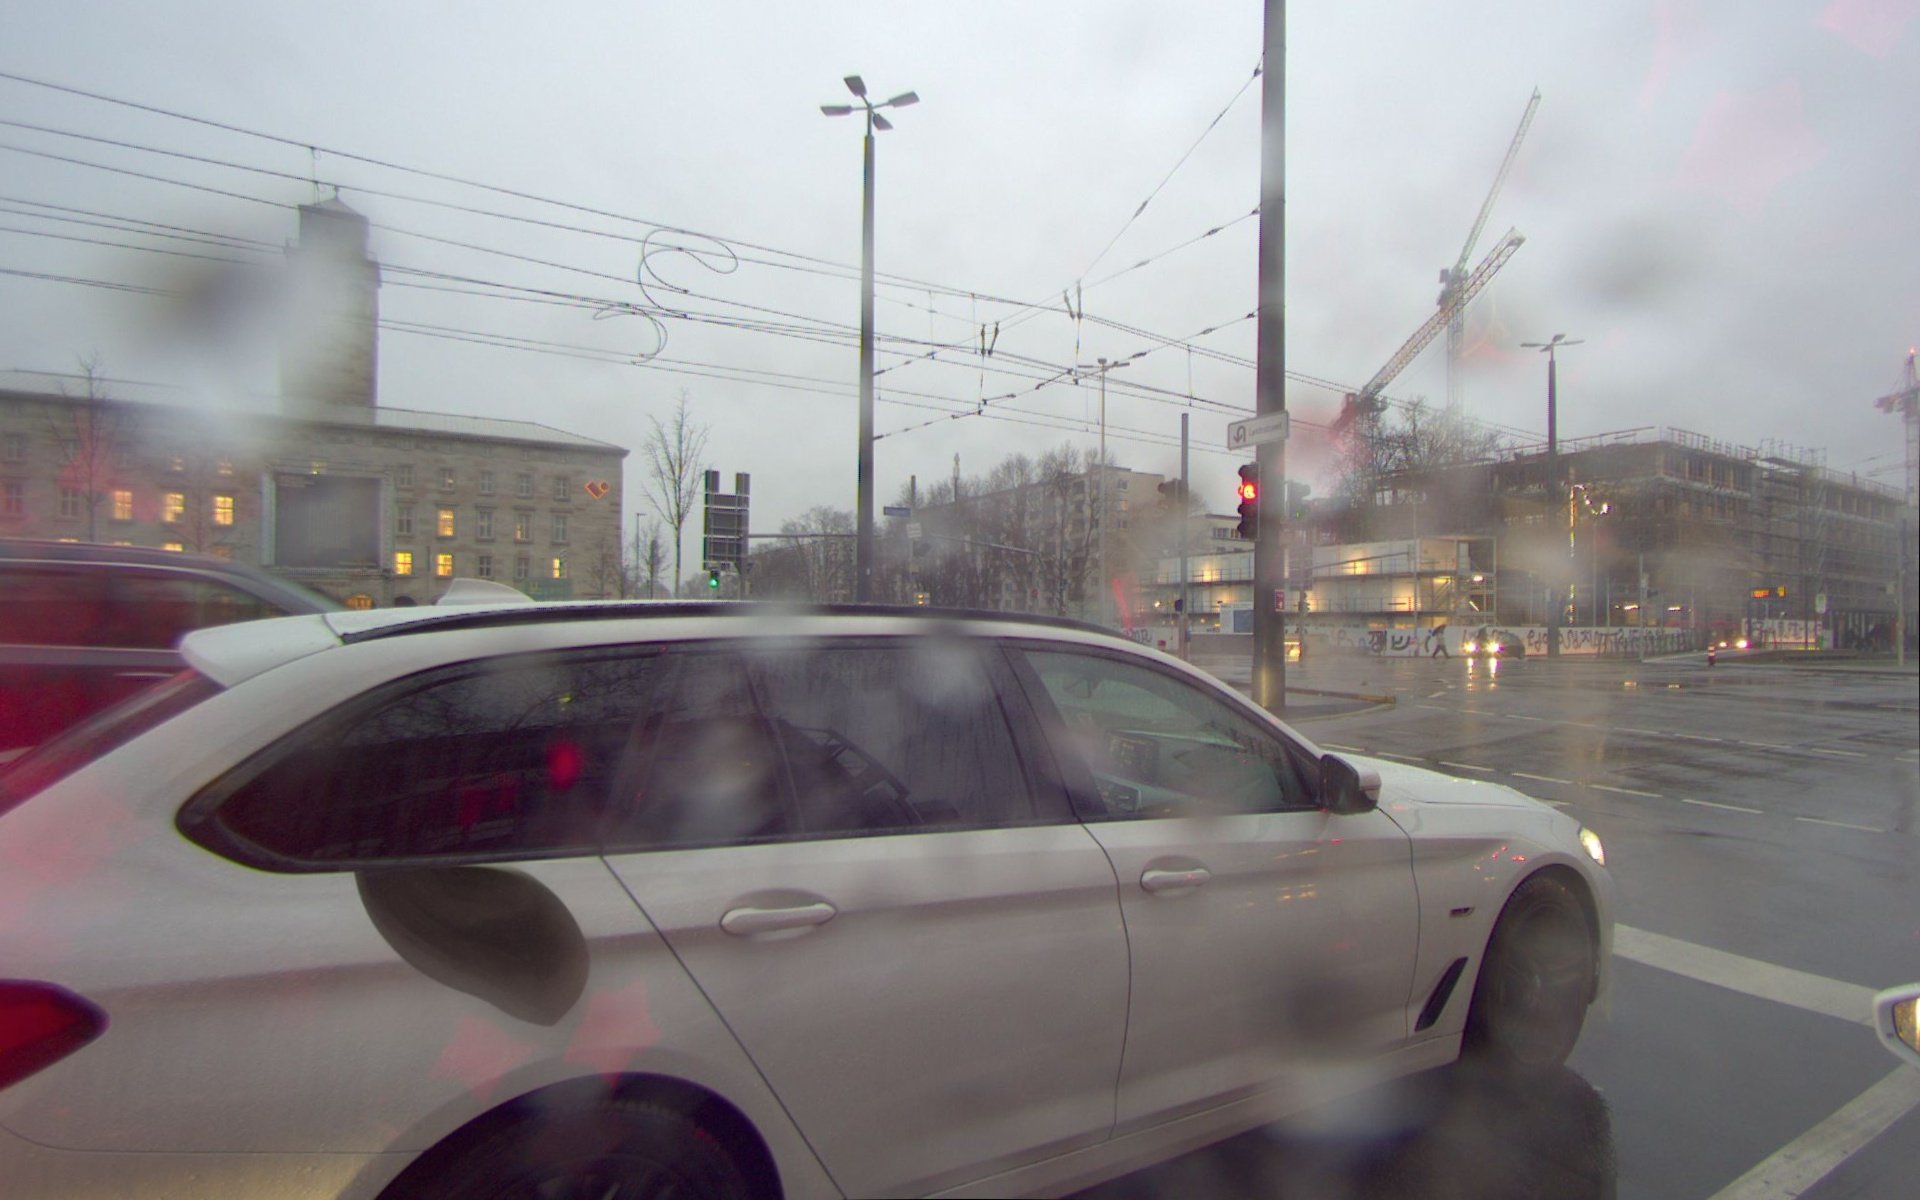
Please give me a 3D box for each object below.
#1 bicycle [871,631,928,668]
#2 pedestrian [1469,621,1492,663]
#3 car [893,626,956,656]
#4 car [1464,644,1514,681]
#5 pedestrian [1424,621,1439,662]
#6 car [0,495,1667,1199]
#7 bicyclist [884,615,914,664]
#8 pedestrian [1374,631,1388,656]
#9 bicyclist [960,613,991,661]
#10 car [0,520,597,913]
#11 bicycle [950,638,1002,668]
[{"bbox_3d":[-2.364,1.914,39.013,0.714,1.380,2.809,2,-3,-38],"label":"bicycle"},{"bbox_3d":[26.023,2.087,50.208,0.741,2.040,0.785,2,-2,-40],"label":"pedestrian"},{"bbox_3d":[-2.123,2.425,59.340,1.978,1.706,3.965,1,-2,-33],"label":"car"},{"bbox_3d":[31.039,3.624,58.868,1.736,2.040,3.980,-1,-2,41],"label":"car"},{"bbox_3d":[24.069,2.107,51.248,0.635,2.040,0.503,4,-3,-40],"label":"pedestrian"},{"bbox_3d":[-0.107,0.704,3.009,4.868,1.540,1.900,2,-2,-32],"label":"car"},{"bbox_3d":[-2.385,1.543,39.009,0.715,1.863,0.986,2,-2,-39],"label":"bicyclist"},{"bbox_3d":[26.728,2.781,63.791,0.781,1.549,0.646,0,-2,26],"label":"pedestrian"},{"bbox_3d":[0.567,1.361,37.029,0.612,1.719,1.026,2,-2,-36],"label":"bicyclist"},{"bbox_3d":[-4.515,0.545,5.393,4.563,1.766,1.693,2,-2,-33],"label":"car"},{"bbox_3d":[0.568,1.937,36.964,0.612,1.046,2.356,2,-2,-36],"label":"bicycle"}]
